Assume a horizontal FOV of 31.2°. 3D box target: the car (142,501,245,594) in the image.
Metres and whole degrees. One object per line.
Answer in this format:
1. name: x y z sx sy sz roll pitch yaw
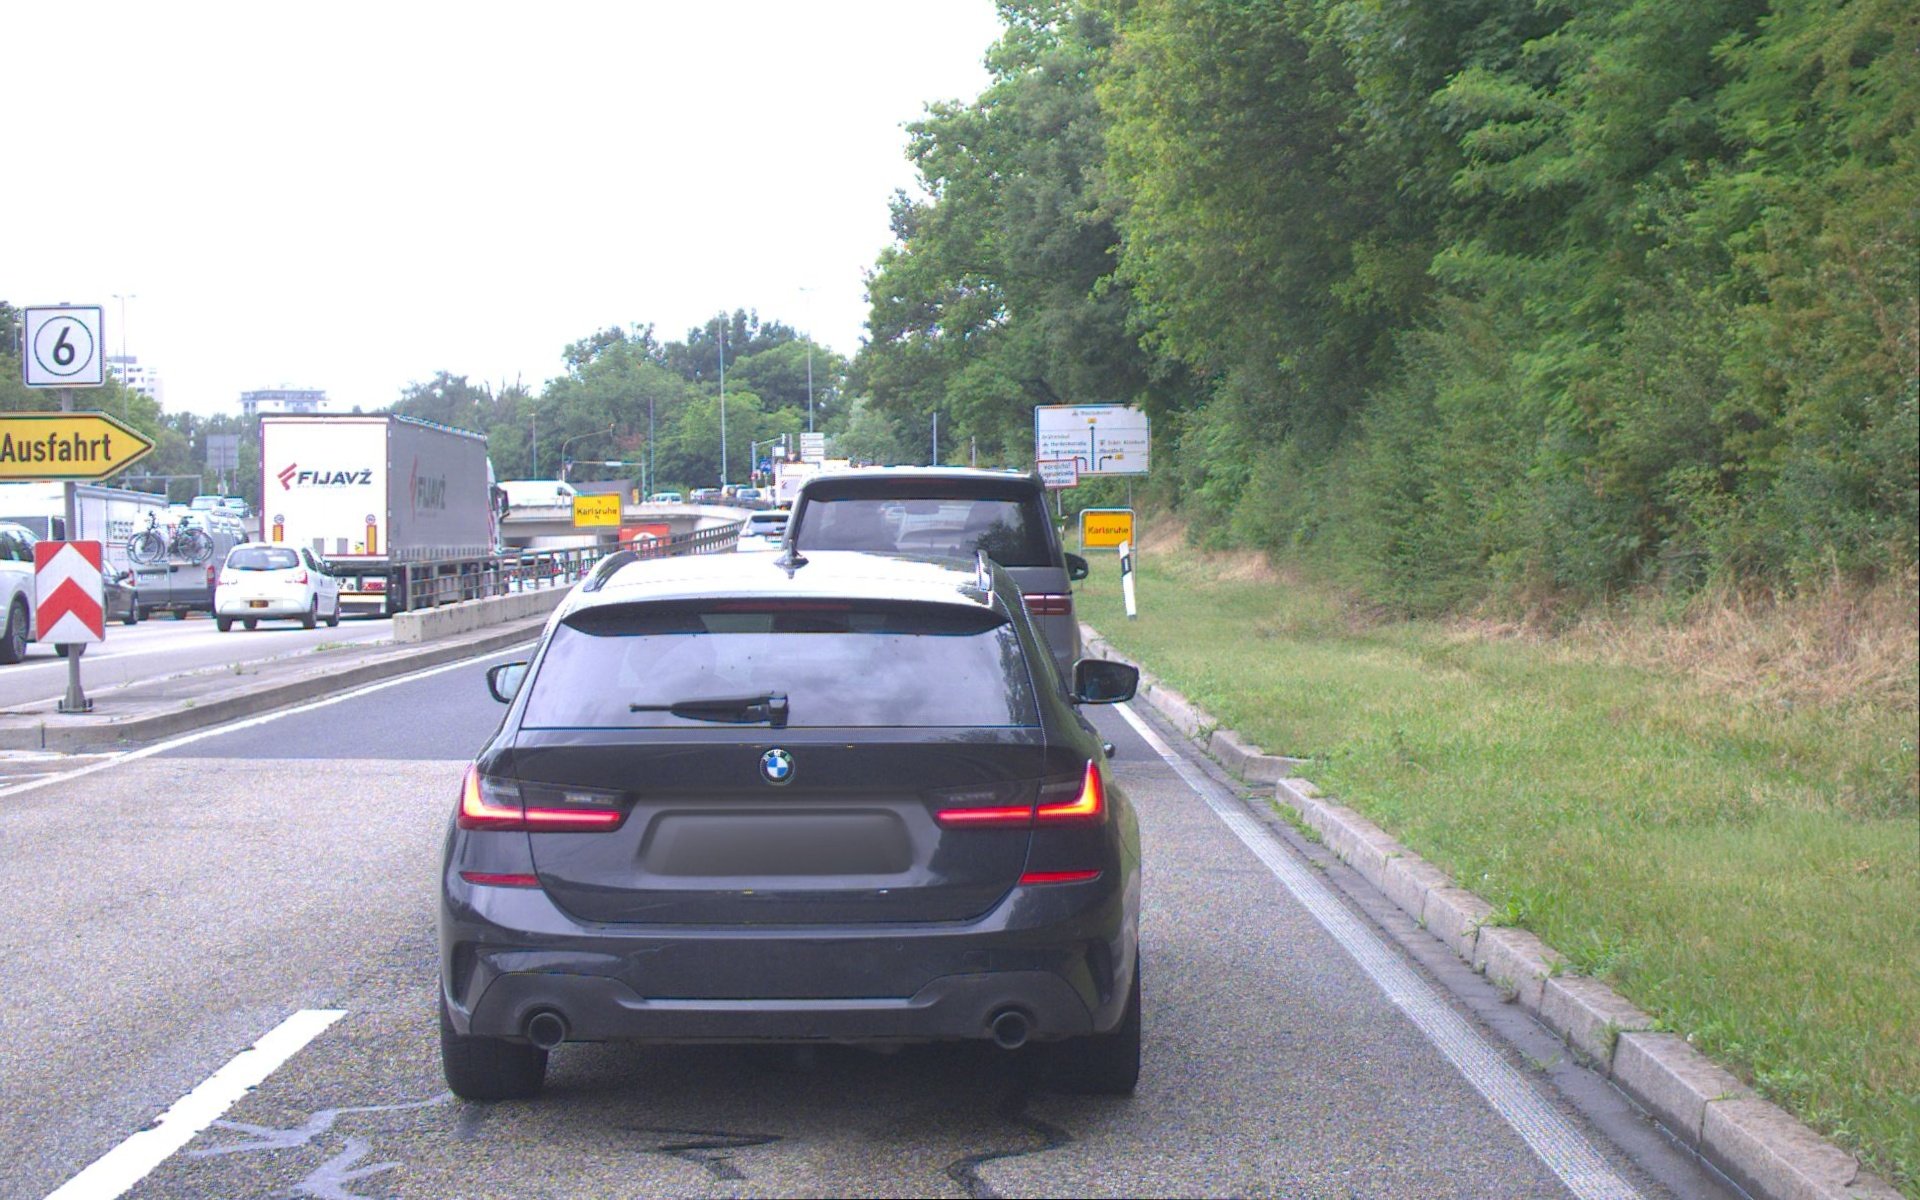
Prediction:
1. car: -17.263 -1.197 77.532 1.443 2.037 3.680 -1 1 1

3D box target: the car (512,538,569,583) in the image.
1. car: -13.204 -1.256 108.414 1.378 1.393 3.062 -1 1 1

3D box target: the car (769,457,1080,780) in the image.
1. car: -0.205 0.065 21.867 1.796 1.865 4.000 0 1 0

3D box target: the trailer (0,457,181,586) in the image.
1. trailer: -28.563 -2.581 113.674 2.593 3.968 13.784 -1 1 -1

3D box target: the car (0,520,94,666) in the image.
1. car: -12.103 -0.116 41.946 1.946 1.686 4.507 -1 1 -1

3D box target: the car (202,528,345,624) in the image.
1. car: -11.544 -0.422 57.970 1.768 1.544 3.493 -1 1 -1

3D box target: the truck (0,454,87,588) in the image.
1. truck: -28.456 -2.397 104.898 2.596 3.977 4.000 -1 1 -1

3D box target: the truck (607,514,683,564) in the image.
1. truck: -16.177 -3.173 177.199 3.274 2.500 7.661 -1 1 -1

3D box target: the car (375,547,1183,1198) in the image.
1. car: -0.475 0.593 9.892 1.846 1.461 4.001 0 1 -2

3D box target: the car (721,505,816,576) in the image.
1. car: -4.463 -1.402 80.583 1.931 1.590 3.877 -1 1 1

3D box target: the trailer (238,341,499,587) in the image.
1. trailer: -12.368 -2.759 73.468 3.132 4.709 14.559 1 1 0

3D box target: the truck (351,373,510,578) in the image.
1. truck: -12.439 -2.899 81.008 3.084 4.681 4.232 1 1 0

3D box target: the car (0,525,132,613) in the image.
1. car: -17.338 -0.631 66.786 1.687 1.626 3.735 1 1 -1

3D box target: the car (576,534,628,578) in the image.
1. car: -12.358 -1.541 118.836 1.448 1.485 3.062 -1 1 1
